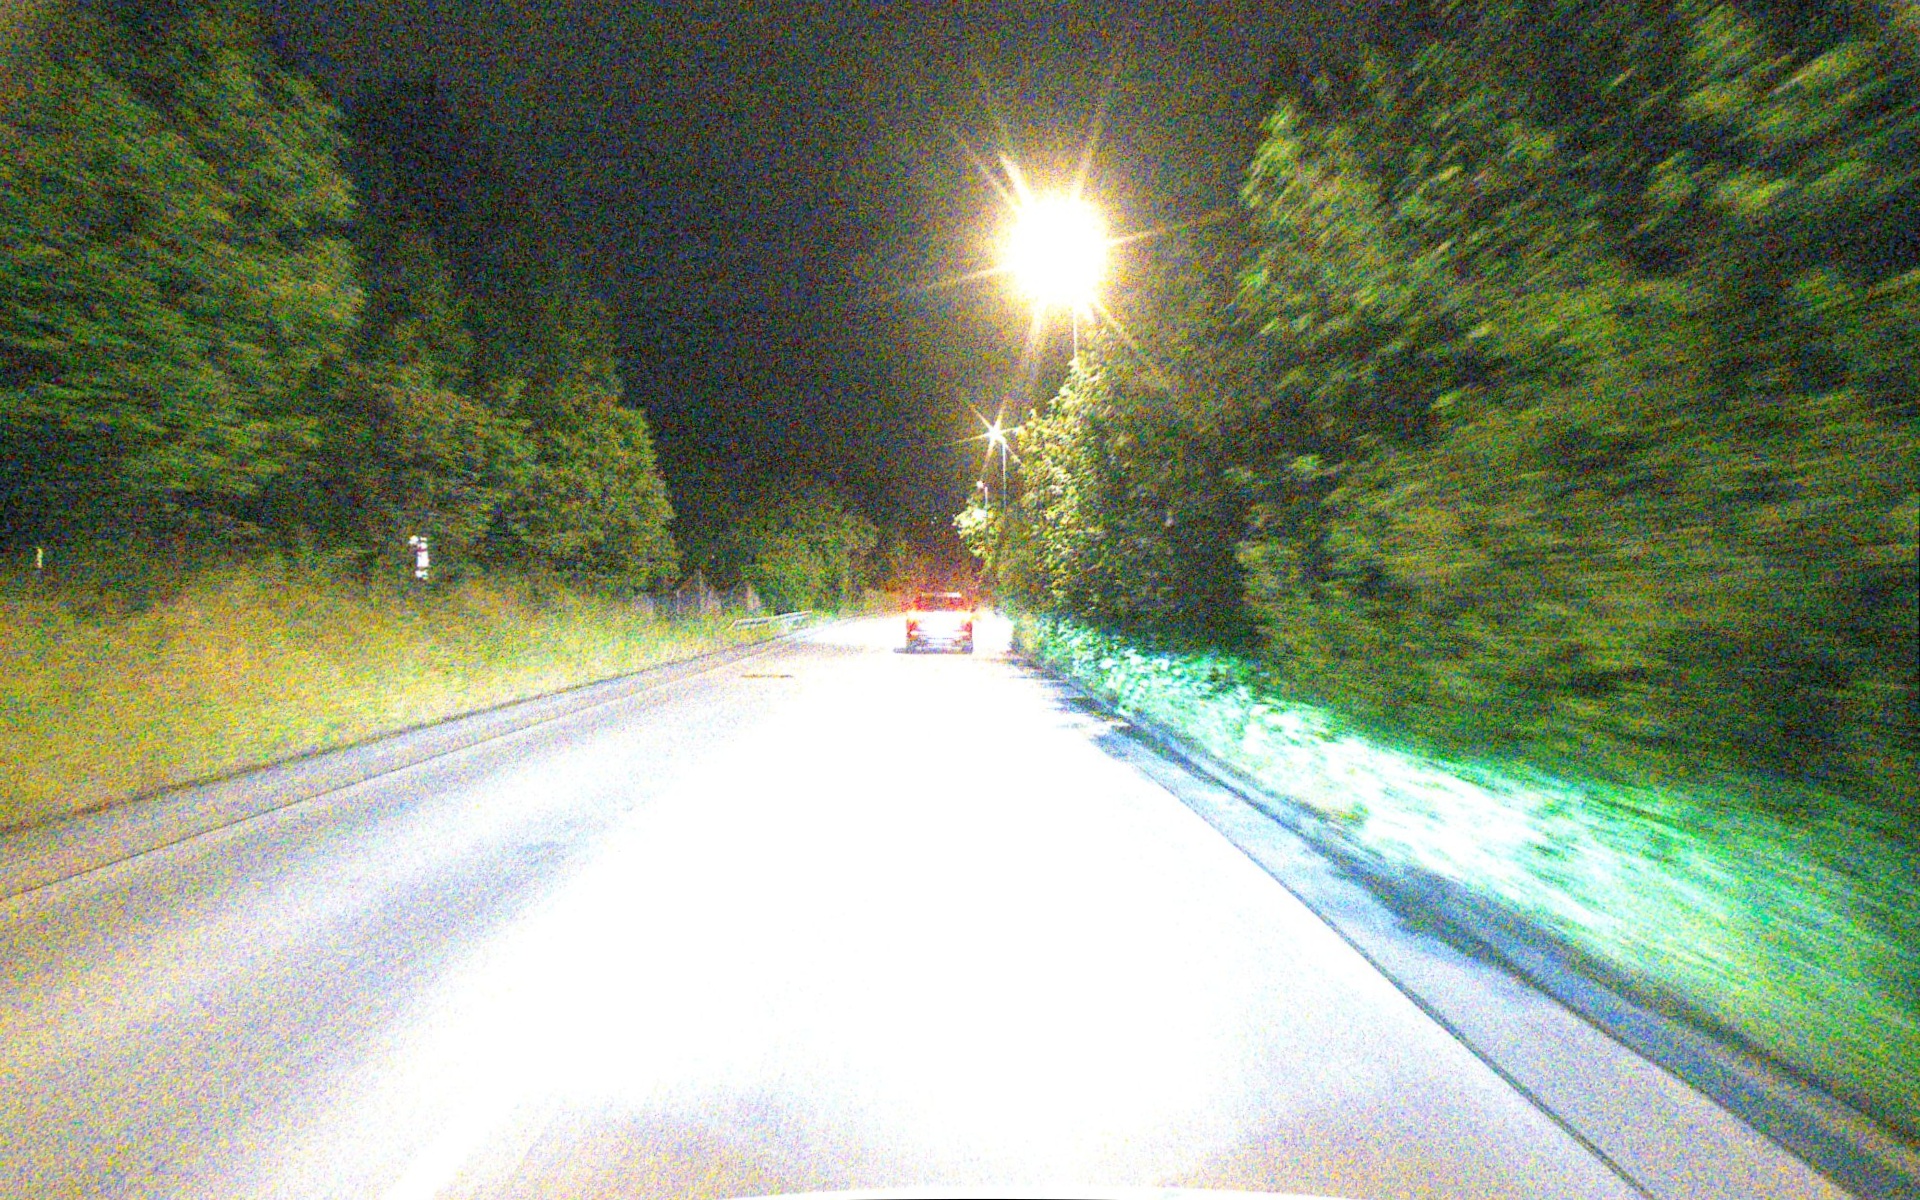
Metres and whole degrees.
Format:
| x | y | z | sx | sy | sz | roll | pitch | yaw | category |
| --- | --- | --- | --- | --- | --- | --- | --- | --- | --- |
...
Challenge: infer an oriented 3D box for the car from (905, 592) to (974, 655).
| x | y | z | sx | sy | sz | roll | pitch | yaw | category |
| --- | --- | --- | --- | --- | --- | --- | --- | --- | --- |
| -0.565 | 0.599 | 44.640 | 1.778 | 1.601 | 3.942 | 0 | 0 | -1 | car |
